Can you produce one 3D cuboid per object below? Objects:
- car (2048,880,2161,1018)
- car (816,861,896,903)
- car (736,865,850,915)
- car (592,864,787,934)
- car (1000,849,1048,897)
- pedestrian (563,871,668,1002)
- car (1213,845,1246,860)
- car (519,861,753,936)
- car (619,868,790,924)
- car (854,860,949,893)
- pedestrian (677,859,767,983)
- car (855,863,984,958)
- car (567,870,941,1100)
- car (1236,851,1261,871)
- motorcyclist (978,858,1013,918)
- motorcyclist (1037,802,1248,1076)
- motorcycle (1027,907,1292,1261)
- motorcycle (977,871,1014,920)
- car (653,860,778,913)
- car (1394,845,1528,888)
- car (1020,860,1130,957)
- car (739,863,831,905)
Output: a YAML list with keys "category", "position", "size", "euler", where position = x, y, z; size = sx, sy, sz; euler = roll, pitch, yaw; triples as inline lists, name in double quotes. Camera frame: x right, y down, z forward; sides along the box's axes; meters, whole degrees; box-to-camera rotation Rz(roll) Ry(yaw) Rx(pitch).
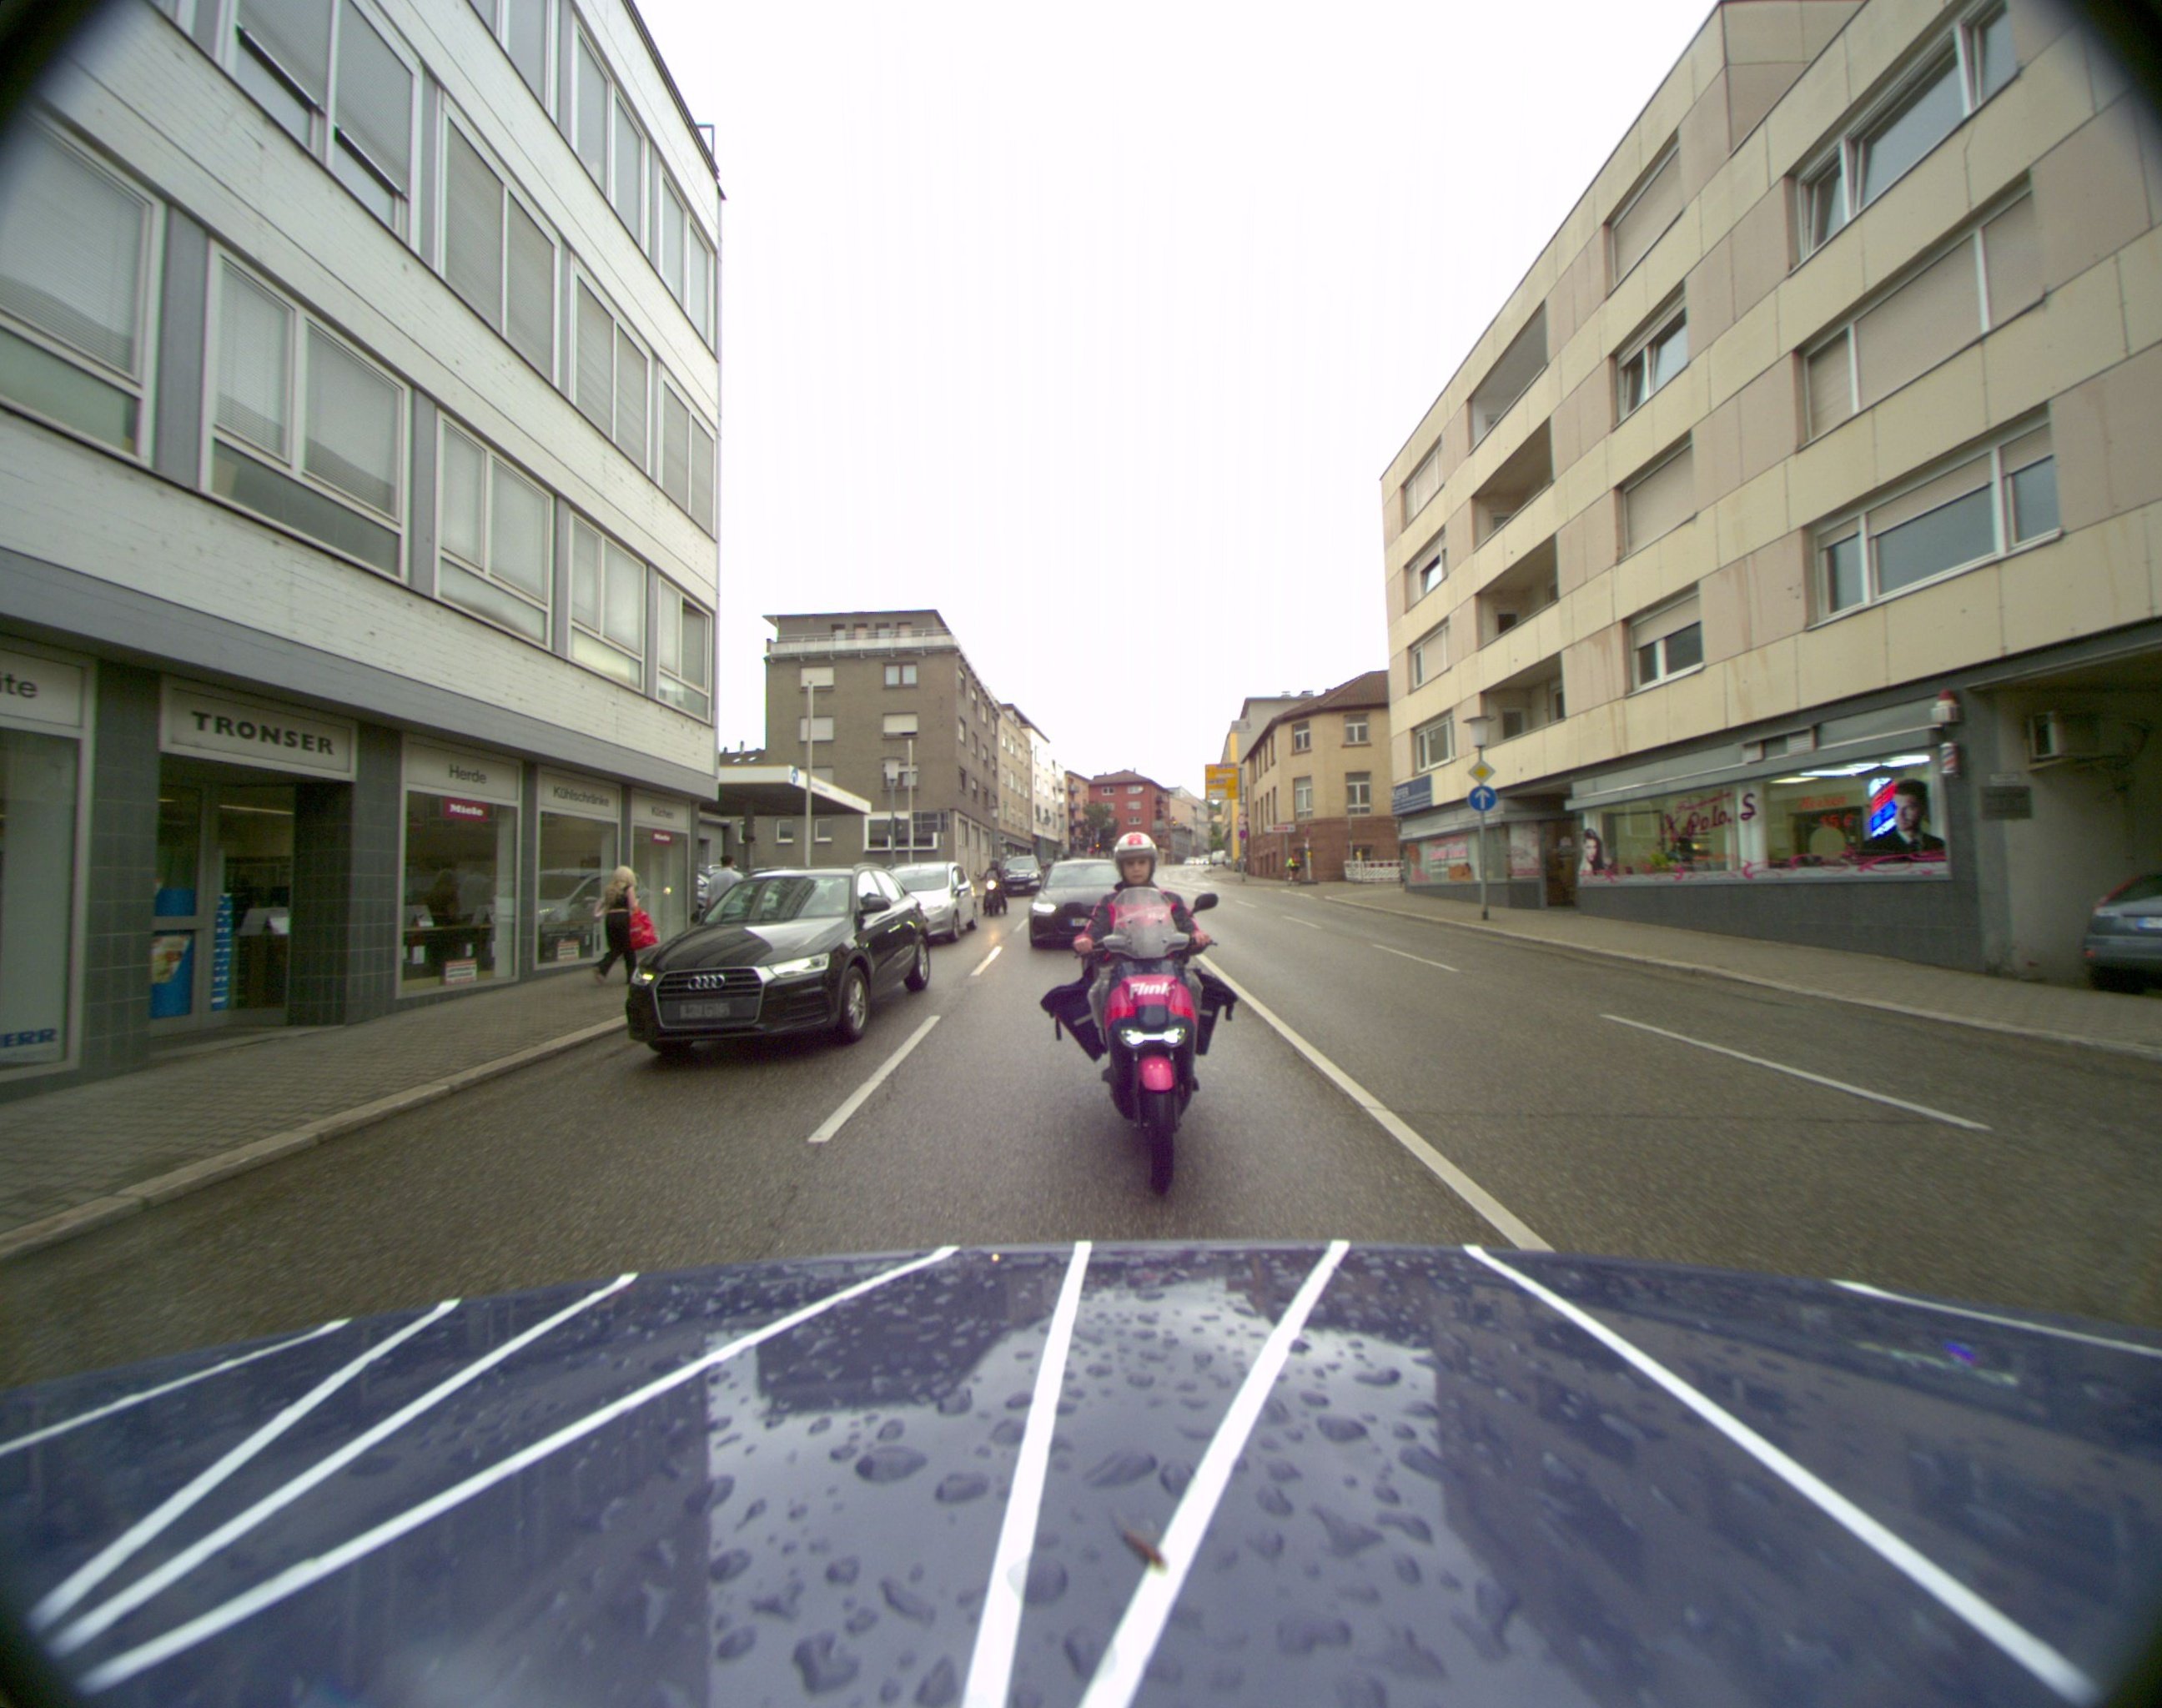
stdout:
- category: "car"
  position: [12.529, 1.116, 7.576]
  size: [4.000, 1.342, 1.678]
  euler: [6, -2, -6]
- category: "car"
  position: [-9.139, 1.092, 31.204]
  size: [1.792, 1.503, 4.438]
  euler: [-1, 0, 2]
- category: "car"
  position: [-9.399, 1.125, 25.247]
  size: [1.792, 1.407, 4.616]
  euler: [0, 0, 4]
- category: "car"
  position: [-9.623, 1.055, 19.015]
  size: [4.002, 1.521, 1.761]
  euler: [-1, 0, -15]
- category: "car"
  position: [-2.364, 0.757, 32.507]
  size: [1.849, 1.892, 3.764]
  euler: [-1, 0, -2]
- category: "pedestrian"
  position: [-5.863, 1.010, 9.618]
  size: [0.767, 1.542, 0.890]
  euler: [1, 1, -2]
- category: "car"
  position: [18.792, -0.193, 96.052]
  size: [4.275, 1.793, 1.862]
  euler: [0, 1, -43]
- category: "car"
  position: [-9.448, 0.950, 16.492]
  size: [4.003, 1.441, 1.796]
  euler: [2, -1, -16]
- category: "car"
  position: [-10.498, 1.142, 21.480]
  size: [4.001, 1.393, 1.669]
  euler: [-1, 0, -13]
- category: "car"
  position: [-9.641, 1.210, 41.105]
  size: [4.531, 1.495, 2.001]
  euler: [-3, 0, 5]
- category: "pedestrian"
  position: [-5.240, 0.939, 11.164]
  size: [0.786, 1.696, 1.120]
  euler: [1, 1, -2]
- category: "car"
  position: [-3.194, 1.052, 15.880]
  size: [1.831, 1.532, 4.251]
  euler: [-4, 0, -2]
- category: "car"
  position: [-2.839, 1.029, 7.782]
  size: [1.827, 1.551, 4.202]
  euler: [-4, 0, 2]
- category: "car"
  position: [13.884, 0.589, 63.219]
  size: [1.861, 1.445, 3.966]
  euler: [-4, -1, 11]
- category: "motorcyclist"
  position: [-2.400, 0.934, 21.421]
  size: [0.847, 1.580, 0.962]
  euler: [-4, 1, -4]
- category: "motorcyclist"
  position: [0.342, 0.446, 4.378]
  size: [1.010, 1.373, 0.835]
  euler: [-4, 0, 3]
- category: "motorcycle"
  position: [0.393, 1.044, 4.465]
  size: [1.010, 1.218, 2.694]
  euler: [-4, 0, 3]
- category: "motorcycle"
  position: [-2.386, 1.130, 21.440]
  size: [0.847, 1.219, 2.372]
  euler: [-4, 0, -4]
- category: "car"
  position: [-11.969, 1.042, 25.267]
  size: [1.792, 1.535, 4.493]
  euler: [2, -1, 2]
- category: "car"
  position: [14.867, 0.494, 29.948]
  size: [4.358, 1.495, 1.755]
  euler: [-3, 0, 11]
- category: "car"
  position: [0.022, 0.901, 14.503]
  size: [1.705, 1.451, 4.319]
  euler: [-3, 0, 3]
- category: "car"
  position: [-11.851, 1.183, 30.776]
  size: [1.792, 1.502, 4.420]
  euler: [2, -1, 2]
